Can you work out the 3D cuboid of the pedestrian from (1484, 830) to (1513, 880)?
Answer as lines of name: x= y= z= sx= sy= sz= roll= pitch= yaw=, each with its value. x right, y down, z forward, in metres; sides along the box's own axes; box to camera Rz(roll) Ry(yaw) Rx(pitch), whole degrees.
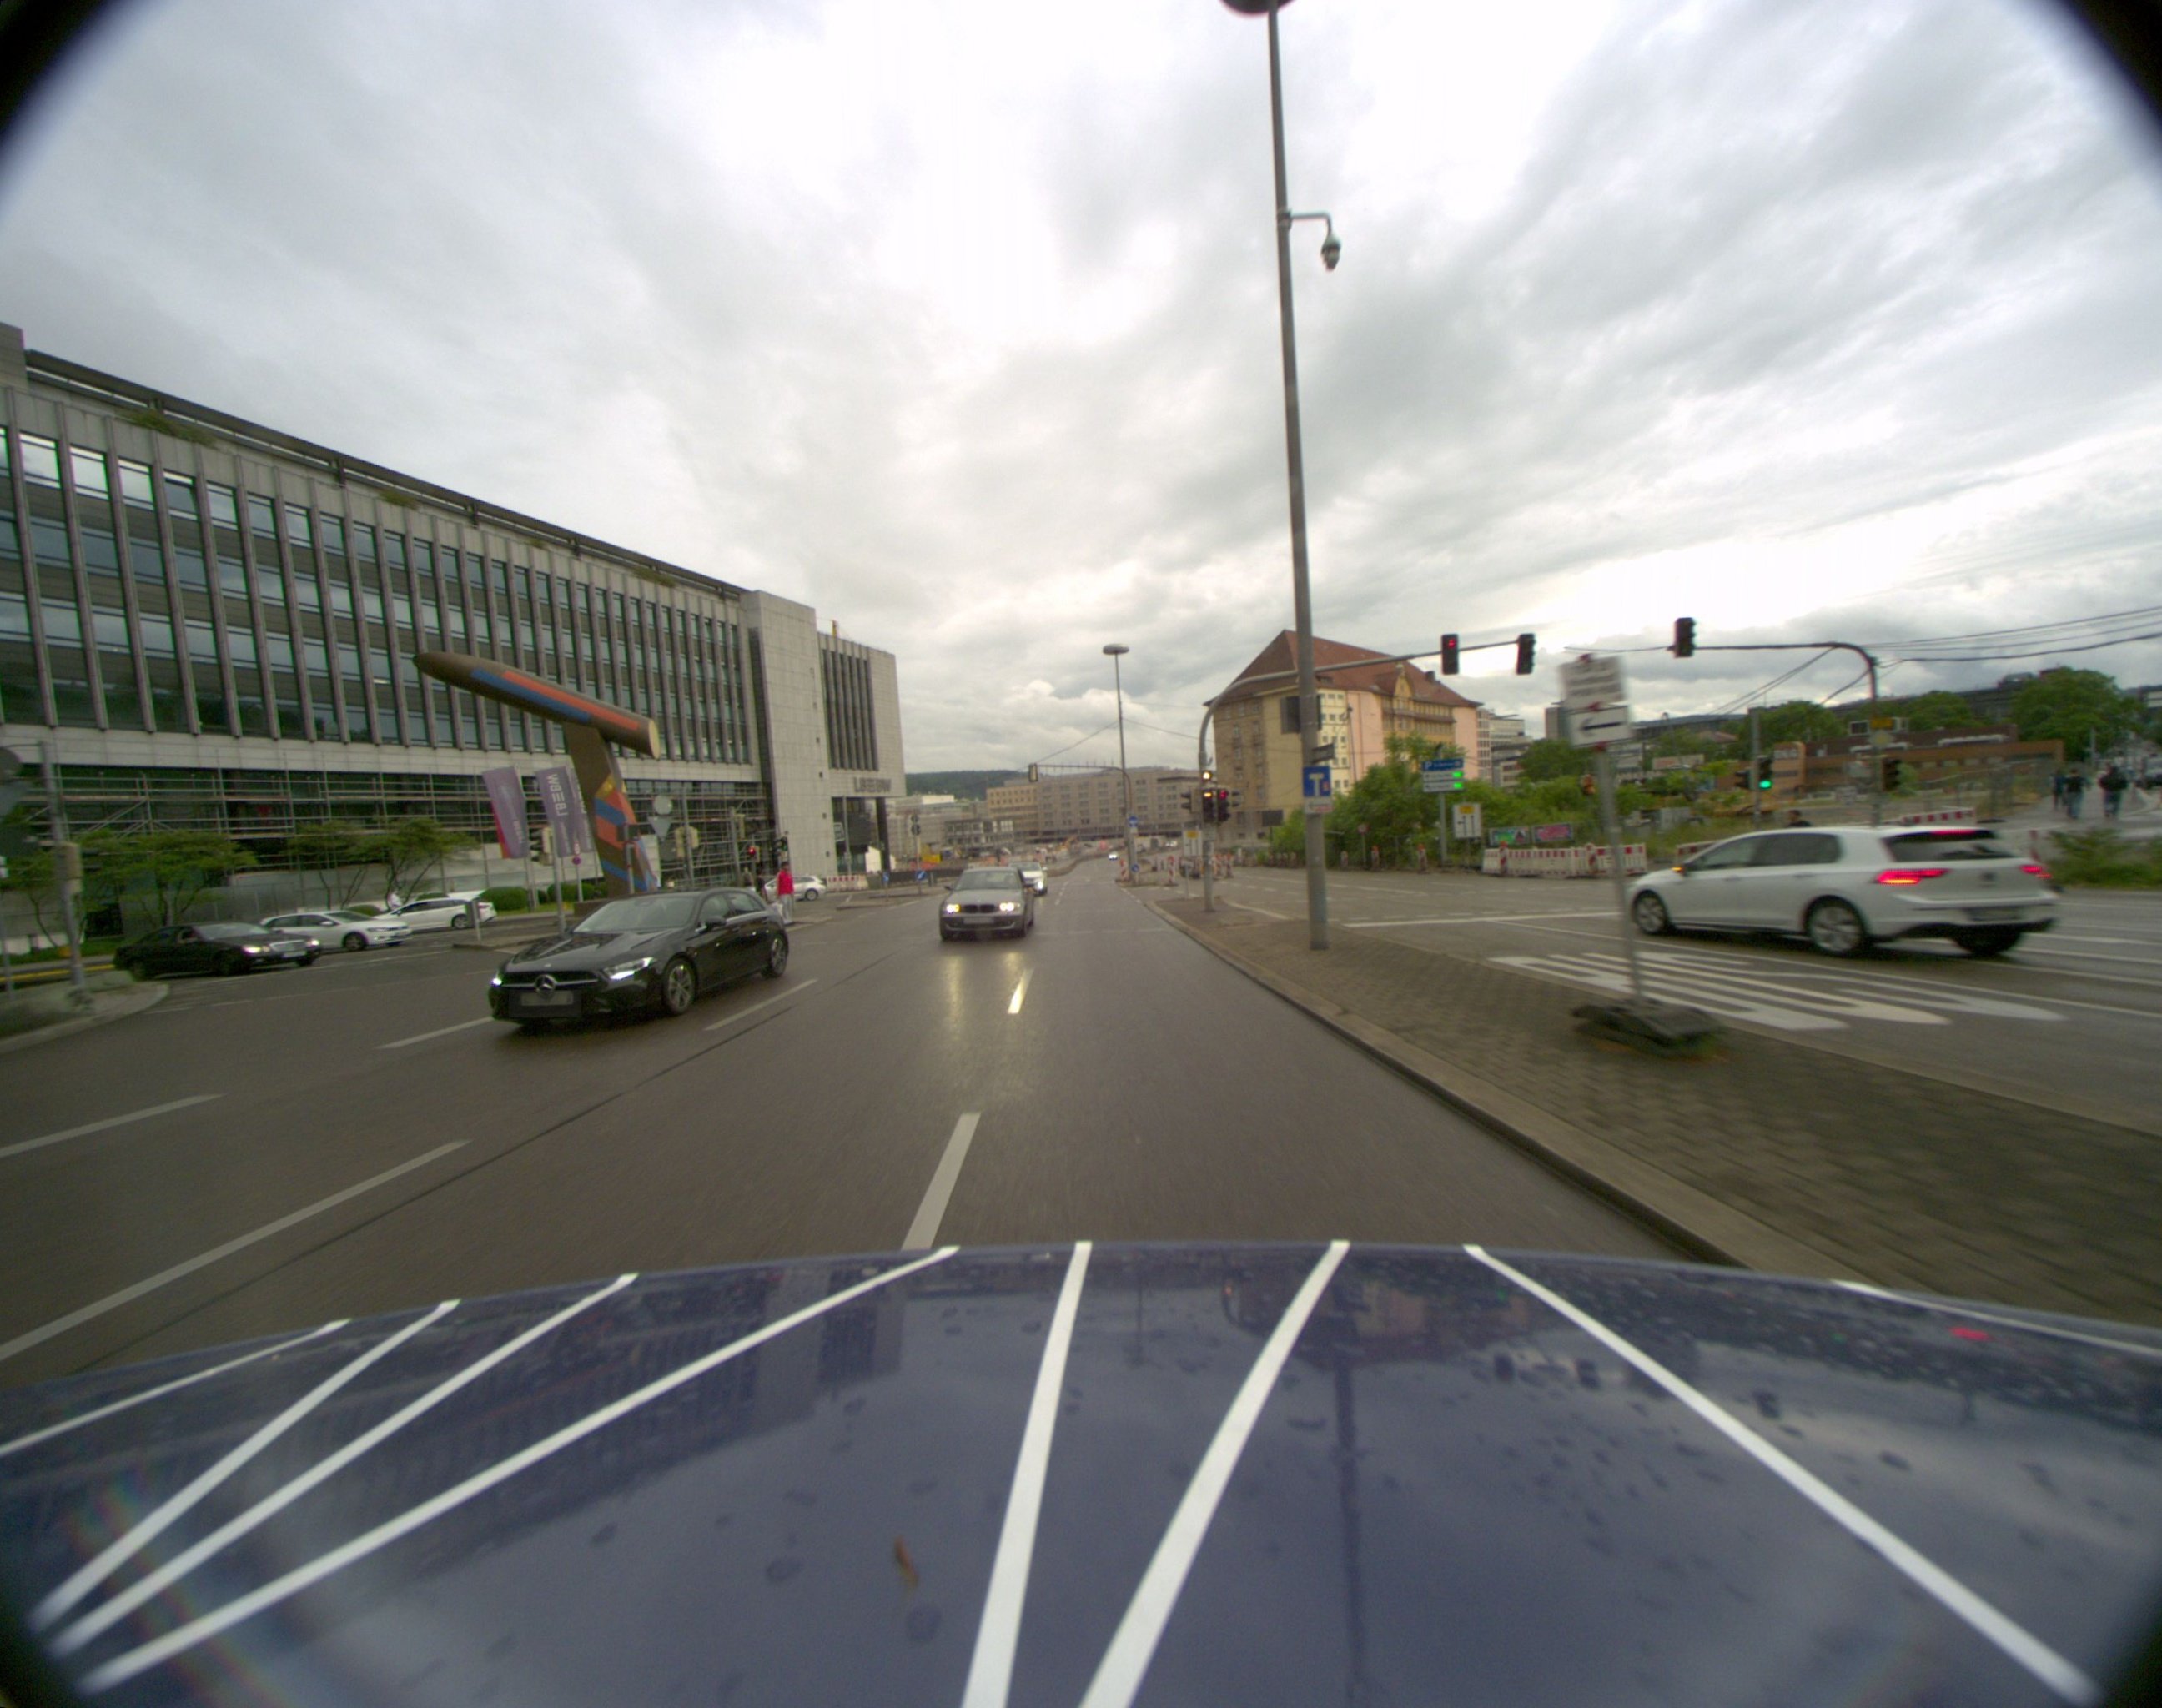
pedestrian: x=16.339 y=0.024 z=29.759 sx=0.674 sy=1.891 sz=0.775 roll=-3 pitch=3 yaw=3

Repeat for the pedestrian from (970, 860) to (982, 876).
pedestrian: x=-11.856 y=1.588 z=85.715 sx=0.730 sy=1.643 sz=1.062 roll=-3 pitch=2 yaw=28

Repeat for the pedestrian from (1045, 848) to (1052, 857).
pedestrian: x=-6.700 y=-0.278 z=156.498 sx=0.818 sy=1.839 sz=0.933 roll=-2 pitch=3 yaw=37

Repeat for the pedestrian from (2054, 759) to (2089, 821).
pedestrian: x=35.680 y=-2.309 z=27.366 sx=0.703 sy=2.159 sz=0.745 roll=-6 pitch=3 yaw=-36

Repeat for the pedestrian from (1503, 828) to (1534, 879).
pedestrian: x=17.095 y=-0.031 z=29.709 sx=0.763 sy=1.912 sz=0.742 roll=-3 pitch=3 yaw=3

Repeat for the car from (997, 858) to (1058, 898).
car: x=-2.325 y=1.024 z=33.924 sx=1.968 sy=1.539 sz=4.220 roll=-3 pitch=0 yaw=5

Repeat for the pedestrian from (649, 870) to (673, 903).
pedestrian: x=-23.066 y=1.768 z=41.736 sx=0.731 sy=1.702 sz=0.843 roll=-4 pitch=3 yaw=0

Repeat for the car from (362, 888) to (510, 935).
car: x=-28.012 y=2.464 z=33.216 sx=4.586 sy=1.624 sz=1.773 roll=-3 pitch=0 yaw=-28

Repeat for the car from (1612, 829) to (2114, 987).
car: x=9.078 y=0.528 z=9.514 sx=1.765 sy=1.452 sz=4.359 roll=-2 pitch=0 yaw=0

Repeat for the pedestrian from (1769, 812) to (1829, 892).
pedestrian: x=17.462 y=-0.055 z=18.494 sx=0.743 sy=1.870 sz=0.746 roll=-4 pitch=3 yaw=-9

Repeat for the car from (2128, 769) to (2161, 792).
car: x=80.906 y=-5.598 z=57.594 sx=4.006 sy=1.517 sz=1.733 roll=-5 pitch=3 yaw=-36

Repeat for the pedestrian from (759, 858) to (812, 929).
pedestrian: x=-8.212 y=1.092 z=21.135 sx=0.841 sy=1.894 sz=0.862 roll=-3 pitch=3 yaw=27

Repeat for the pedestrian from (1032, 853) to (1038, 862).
pedestrian: x=-8.878 y=0.663 z=145.531 sx=0.715 sy=1.545 sz=1.009 roll=-3 pitch=3 yaw=20

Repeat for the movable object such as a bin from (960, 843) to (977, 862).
movable object such as a bin: x=-22.546 y=-0.304 z=152.337 sx=1.941 sy=3.390 sz=4.231 roll=-3 pitch=2 yaw=8

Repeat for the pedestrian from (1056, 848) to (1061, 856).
pedestrian: x=-4.651 y=-0.357 z=157.881 sx=0.746 sy=1.696 sz=0.687 roll=-1 pitch=3 yaw=15

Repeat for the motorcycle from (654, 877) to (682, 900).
motorcycle: x=-24.021 y=1.994 z=44.240 sx=1.244 sy=1.263 sz=0.619 roll=-2 pitch=0 yaw=-7

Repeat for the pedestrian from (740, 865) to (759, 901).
pedestrian: x=-20.202 y=1.756 z=46.263 sx=0.856 sy=2.086 sz=0.903 roll=-6 pitch=1 yaw=-22

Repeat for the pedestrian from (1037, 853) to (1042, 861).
pedestrian: x=-8.015 y=0.595 z=145.517 sx=0.609 sy=1.514 sz=0.886 roll=-3 pitch=3 yaw=20

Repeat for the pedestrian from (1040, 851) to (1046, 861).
pedestrian: x=-7.204 y=0.388 z=145.514 sx=0.778 sy=1.713 sz=0.892 roll=-3 pitch=3 yaw=20

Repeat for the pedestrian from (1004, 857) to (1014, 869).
pedestrian: x=-9.998 y=1.299 z=105.791 sx=0.861 sy=1.584 sz=0.953 roll=-2 pitch=3 yaw=28

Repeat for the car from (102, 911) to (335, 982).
car: x=-22.989 y=2.453 z=20.330 sx=4.707 sy=1.434 sz=1.868 roll=-4 pitch=2 yaw=11

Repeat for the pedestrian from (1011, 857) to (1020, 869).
pedestrian: x=-9.121 y=1.247 z=105.693 sx=0.732 sy=1.566 sz=0.806 roll=-3 pitch=3 yaw=28

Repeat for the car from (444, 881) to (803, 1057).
car: x=-5.240 y=1.204 z=9.527 sx=1.759 sy=1.399 sz=4.227 roll=-3 pitch=1 yaw=2

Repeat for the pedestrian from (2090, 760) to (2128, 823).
pedestrian: x=36.047 y=-2.191 z=26.649 sx=0.744 sy=2.128 sz=0.745 roll=-6 pitch=2 yaw=-36

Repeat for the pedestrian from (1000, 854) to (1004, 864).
pedestrian: x=-14.572 y=0.932 z=140.039 sx=0.567 sy=1.738 sz=0.495 roll=-3 pitch=3 yaw=19

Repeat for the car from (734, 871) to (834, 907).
car: x=-15.857 y=1.830 z=40.683 sx=4.623 sy=1.443 sz=1.702 roll=-5 pitch=2 yaw=-39

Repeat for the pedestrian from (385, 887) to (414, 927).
pedestrian: x=-31.911 y=2.466 z=35.577 sx=0.968 sy=1.808 sz=0.782 roll=-1 pitch=4 yaw=41

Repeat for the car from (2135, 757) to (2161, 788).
car: x=64.835 y=-4.945 z=45.455 sx=4.006 sy=1.696 sz=1.995 roll=-5 pitch=3 yaw=-36

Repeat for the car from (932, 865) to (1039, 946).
car: x=-1.930 y=1.016 z=16.529 sx=1.744 sy=1.434 sz=4.000 roll=-2 pitch=0 yaw=0

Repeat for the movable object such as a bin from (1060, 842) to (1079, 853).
movable object such as a bin: x=-2.929 y=-1.551 z=189.091 sx=4.134 sy=2.522 sz=1.995 roll=-5 pitch=3 yaw=-34

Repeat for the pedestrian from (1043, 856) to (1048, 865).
pedestrian: x=-6.300 y=1.120 z=135.769 sx=0.648 sy=1.624 sz=0.907 roll=-4 pitch=3 yaw=1

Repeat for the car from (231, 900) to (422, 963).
car: x=-24.812 y=2.514 z=25.146 sx=4.000 sy=1.434 sz=1.864 roll=-5 pitch=4 yaw=-8

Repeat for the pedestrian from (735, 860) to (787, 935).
pedestrian: x=-8.446 y=1.133 z=20.074 sx=0.841 sy=1.894 sz=0.733 roll=-2 pitch=3 yaw=27

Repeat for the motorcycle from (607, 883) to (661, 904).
motorcycle: x=-24.823 y=2.192 z=42.225 sx=2.571 sy=1.074 sz=0.634 roll=0 pitch=0 yaw=-7

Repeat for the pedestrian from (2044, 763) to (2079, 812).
pedestrian: x=38.829 y=-2.618 z=30.094 sx=0.786 sy=1.842 sz=0.766 roll=-4 pitch=0 yaw=-36
